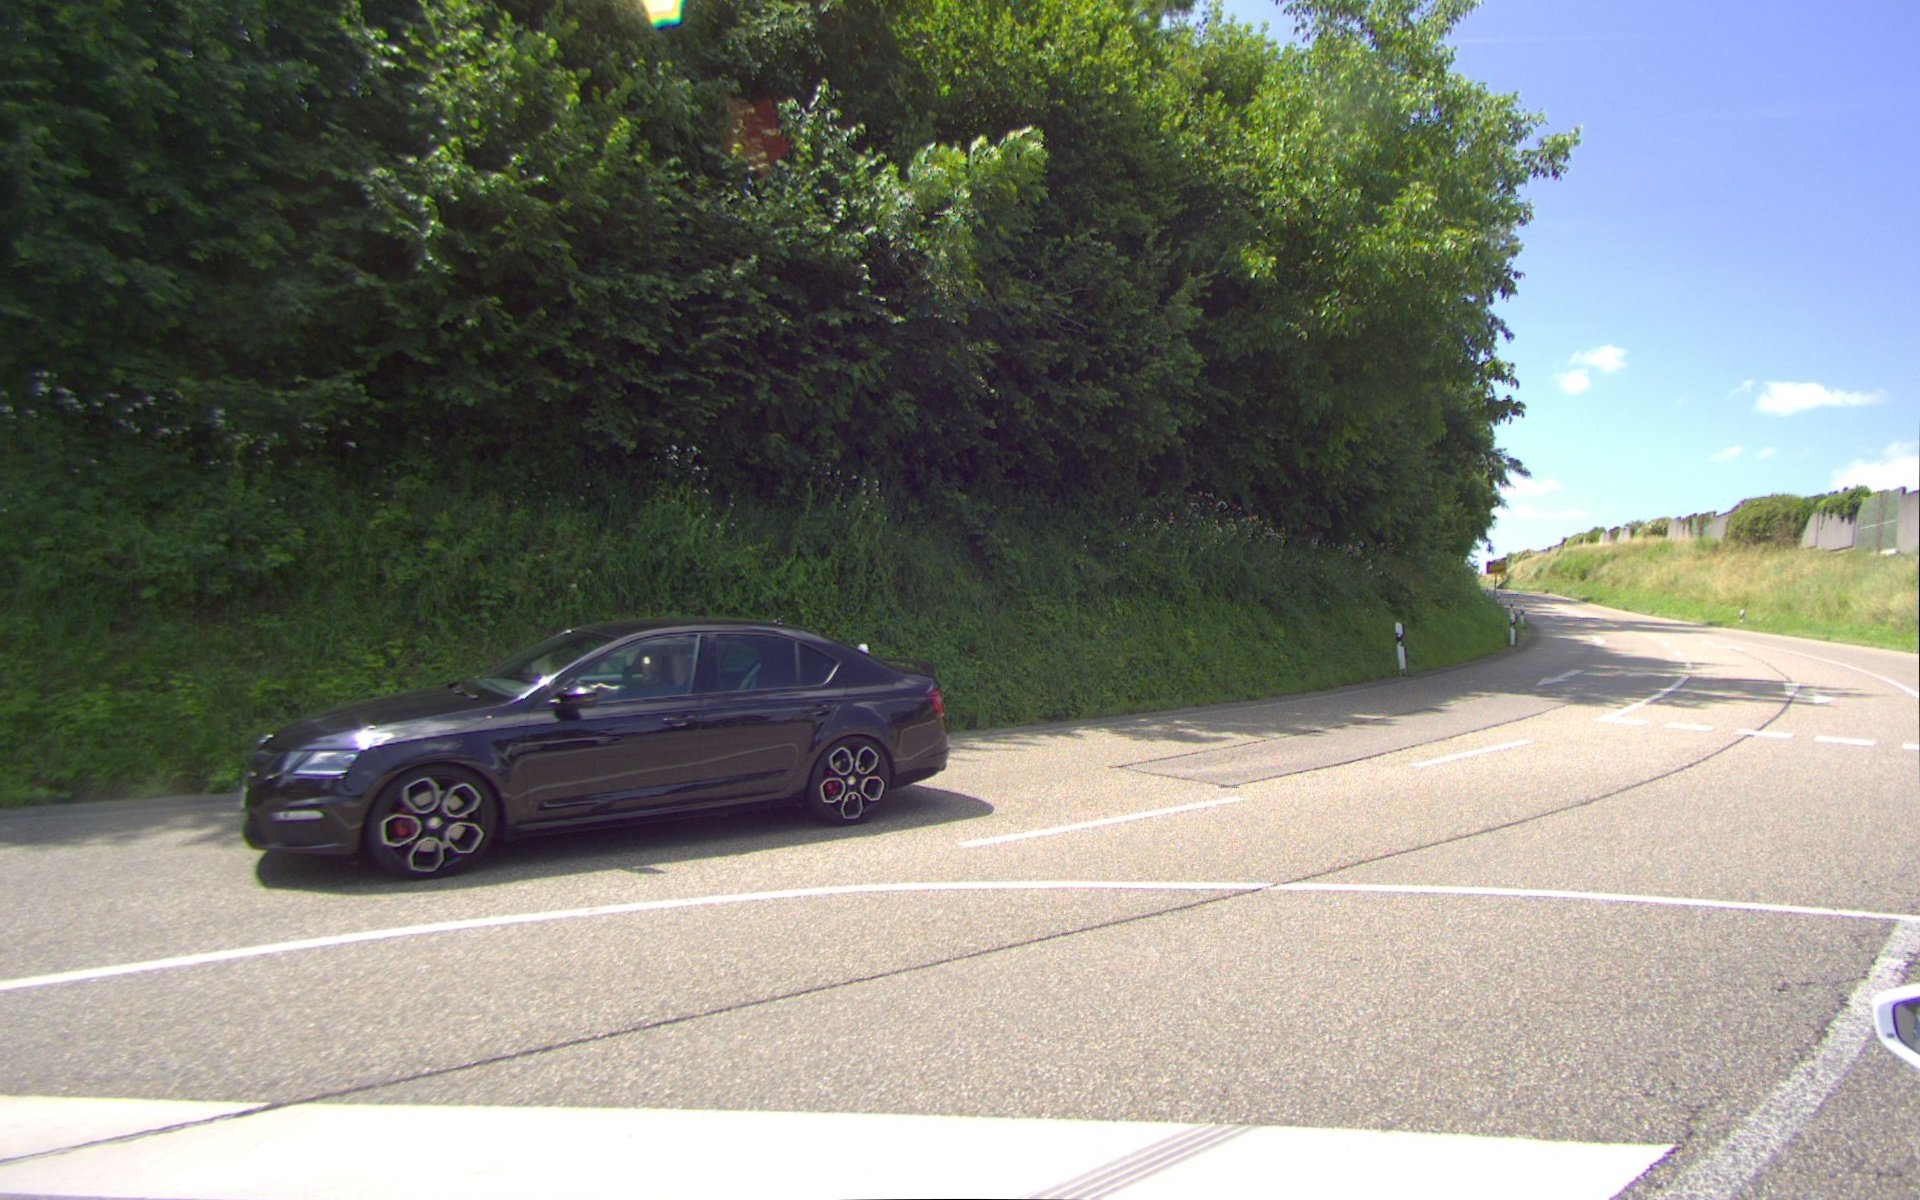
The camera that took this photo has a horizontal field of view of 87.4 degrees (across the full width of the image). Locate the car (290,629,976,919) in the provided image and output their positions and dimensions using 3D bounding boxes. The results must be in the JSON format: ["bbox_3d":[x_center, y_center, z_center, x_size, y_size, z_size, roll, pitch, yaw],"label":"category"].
[{"bbox_3d":[-2.102,0.943,7.065,4.302,1.438,1.673,1,-1,-36],"label":"car"}]
